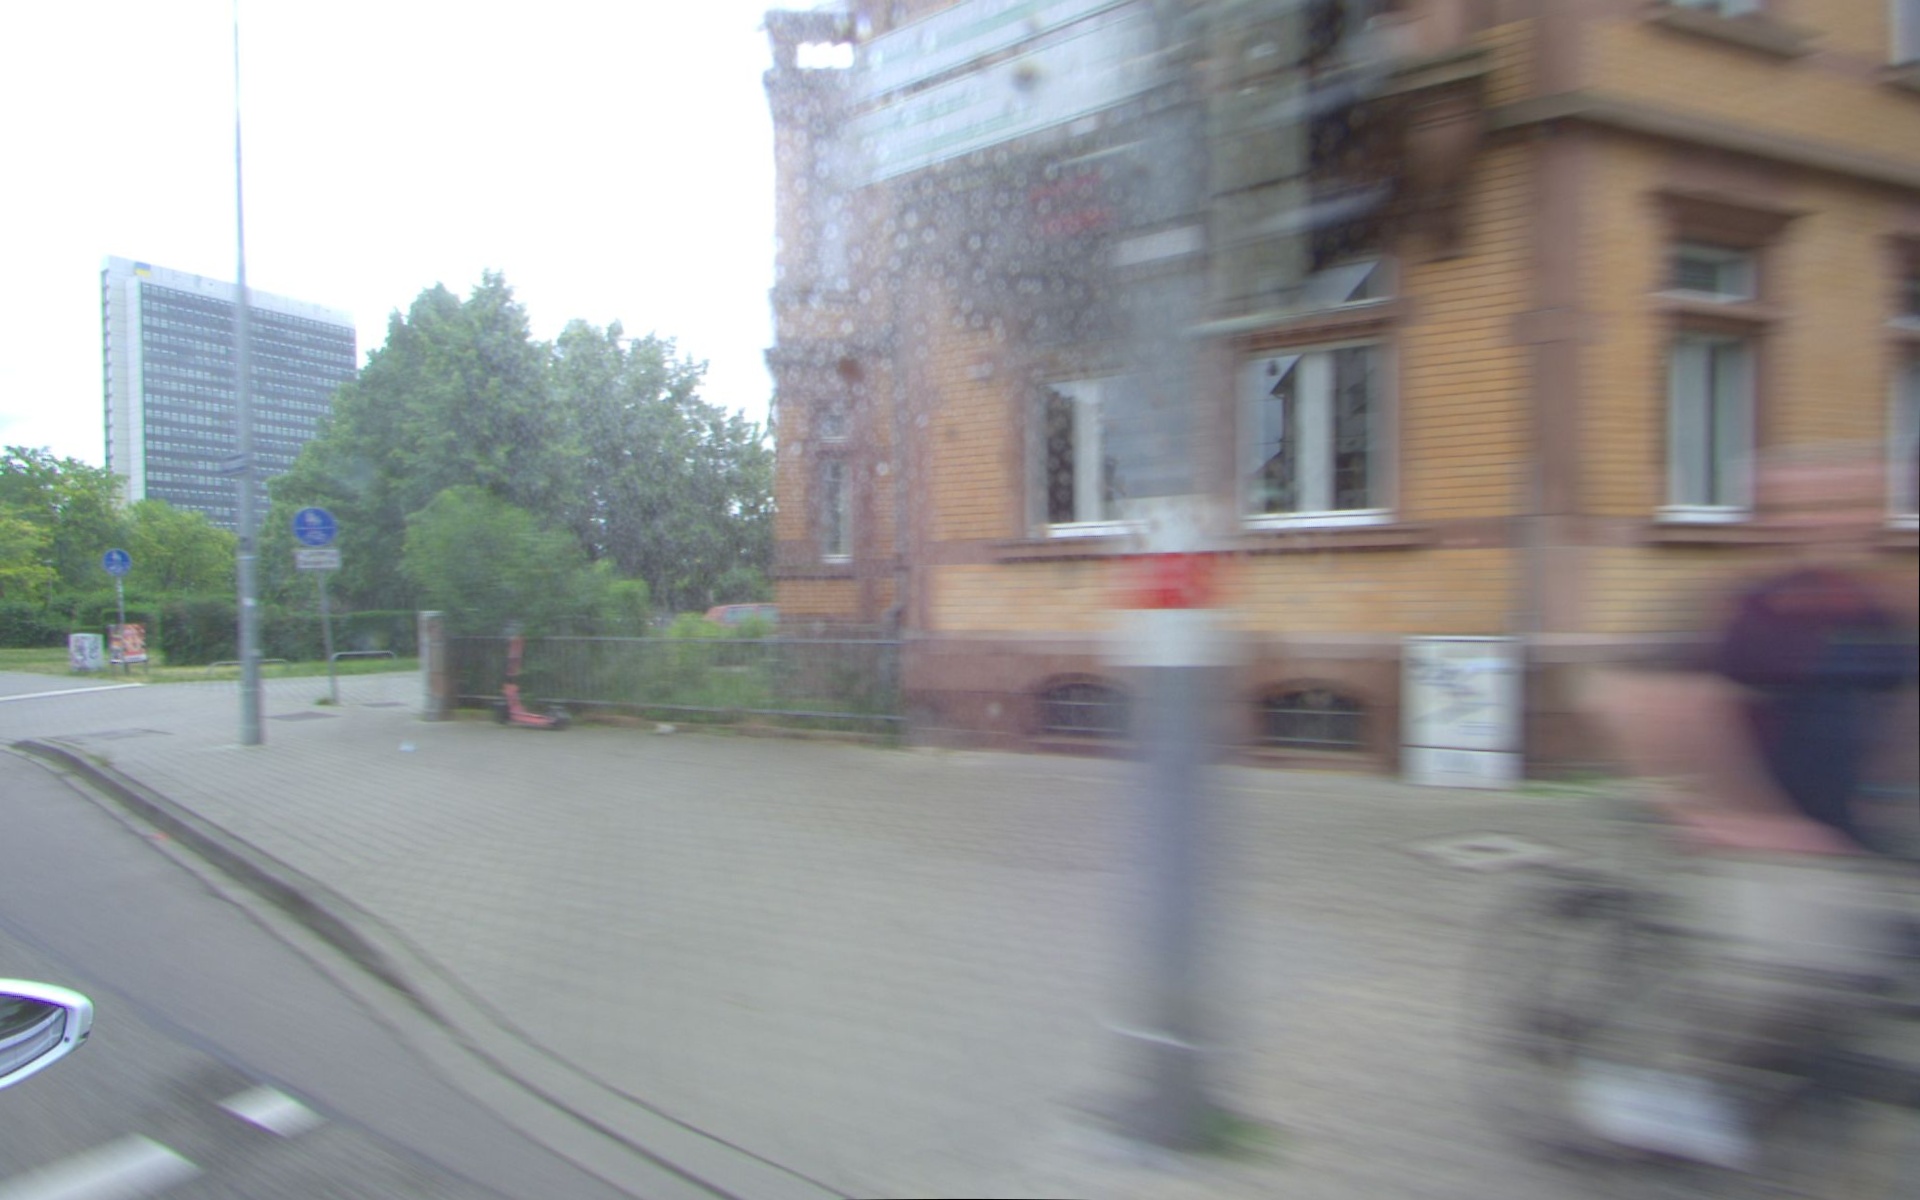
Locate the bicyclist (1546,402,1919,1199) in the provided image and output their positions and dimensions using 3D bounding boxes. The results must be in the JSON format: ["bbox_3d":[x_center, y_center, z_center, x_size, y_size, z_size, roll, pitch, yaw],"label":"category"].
[{"bbox_3d":[1.889,0.569,2.126,0.874,1.819,0.682,0,0,-5],"label":"bicyclist"}]

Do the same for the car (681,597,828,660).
[{"bbox_3d":[-5.278,0.721,26.056,3.418,1.471,1.691,-2,0,0],"label":"car"}]

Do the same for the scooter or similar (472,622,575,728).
[{"bbox_3d":[-4.972,0.834,11.402,1.180,1.156,0.376,0,1,24],"label":"scooter or similar"}]

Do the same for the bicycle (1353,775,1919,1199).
[{"bbox_3d":[1.650,0.992,2.108,0.781,0.936,1.868,0,-1,-5],"label":"bicycle"}]
